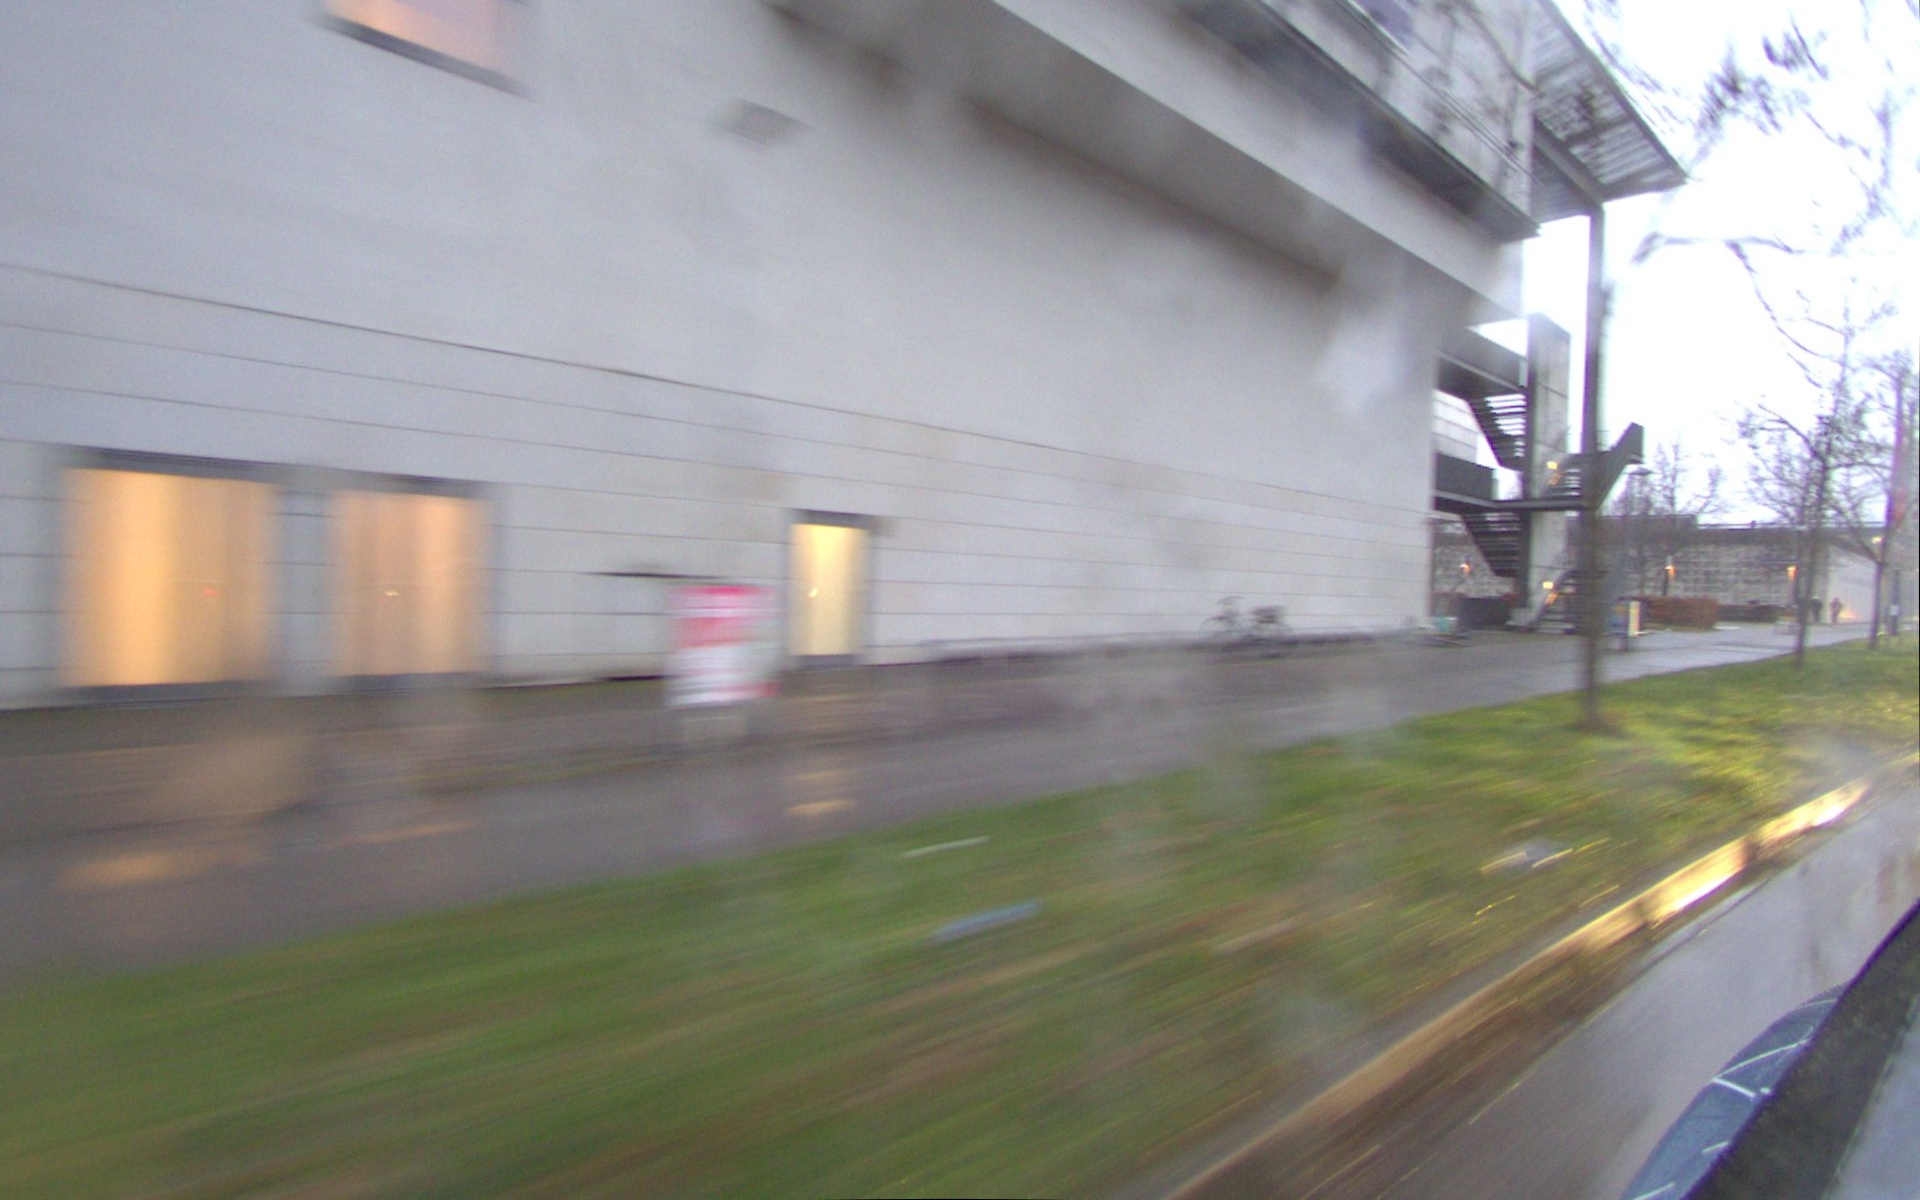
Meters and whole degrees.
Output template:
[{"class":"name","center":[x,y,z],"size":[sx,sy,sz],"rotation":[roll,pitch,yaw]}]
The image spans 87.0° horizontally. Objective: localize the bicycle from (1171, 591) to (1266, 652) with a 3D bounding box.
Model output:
[{"class":"bicycle","center":[4.931,0.393,19.381],"size":[0.390,1.065,1.810],"rotation":[1,2,-44]}]

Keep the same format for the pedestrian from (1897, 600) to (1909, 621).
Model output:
[{"class":"pedestrian","center":[76.985,0.840,82.628],"size":[0.666,1.675,0.979],"rotation":[2,2,42]}]

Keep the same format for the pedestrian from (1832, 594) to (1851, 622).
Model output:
[{"class":"pedestrian","center":[51.684,0.465,59.348],"size":[0.602,1.633,0.675],"rotation":[0,-1,-29]}]

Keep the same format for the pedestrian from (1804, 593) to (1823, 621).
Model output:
[{"class":"pedestrian","center":[49.606,0.393,58.812],"size":[0.602,1.646,0.676],"rotation":[0,-1,-27]}]

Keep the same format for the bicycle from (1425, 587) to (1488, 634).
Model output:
[{"class":"bicycle","center":[13.893,0.286,28.316],"size":[1.707,1.301,0.412],"rotation":[0,-1,-15]}]
